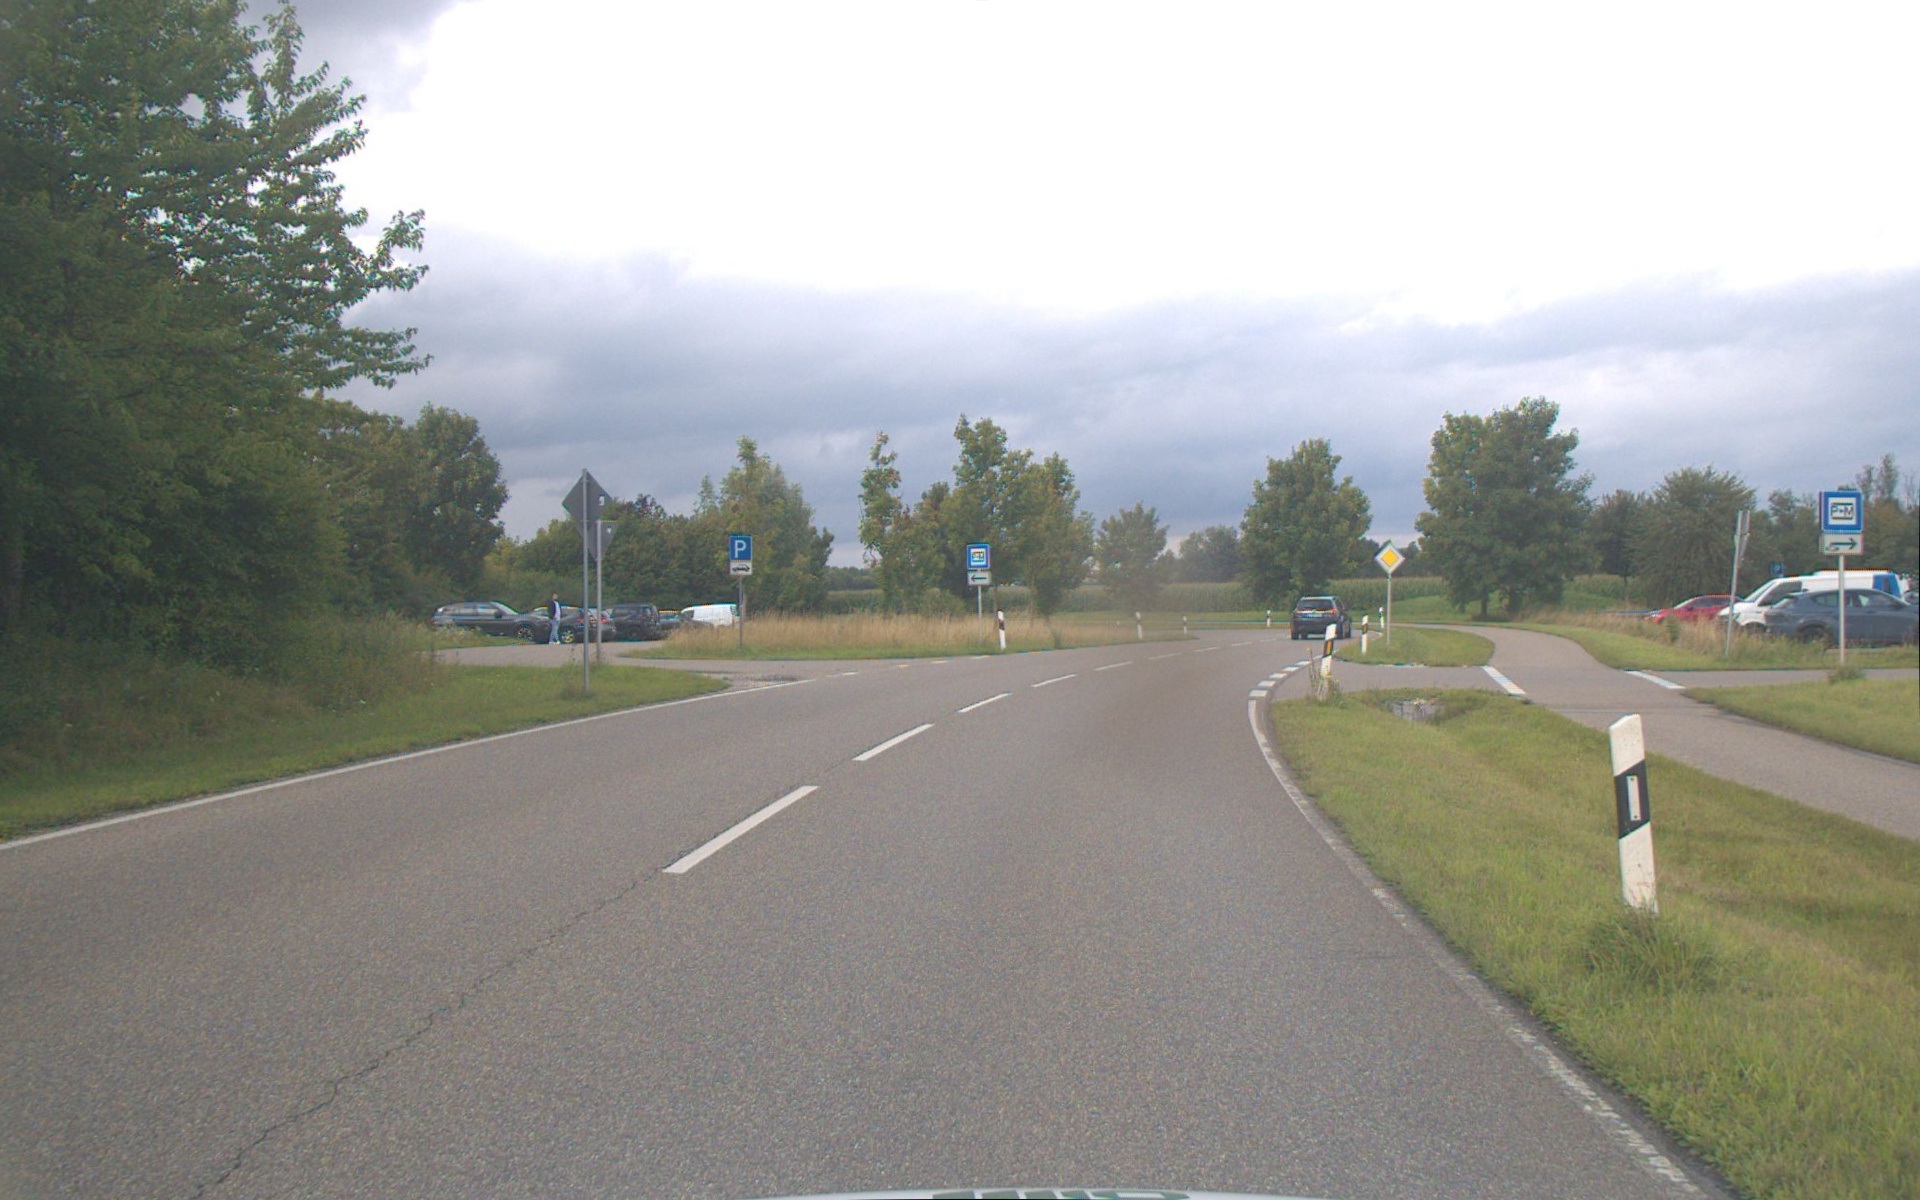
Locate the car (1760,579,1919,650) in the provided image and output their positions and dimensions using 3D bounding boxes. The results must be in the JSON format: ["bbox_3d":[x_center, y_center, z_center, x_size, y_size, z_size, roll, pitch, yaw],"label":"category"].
[{"bbox_3d":[22.182,0.333,40.711,4.181,1.593,1.839,-2,-1,16],"label":"car"}]

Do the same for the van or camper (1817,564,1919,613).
[{"bbox_3d":[50.816,-0.617,90.597,6.602,2.606,2.049,-1,0,20],"label":"van or camper"}]

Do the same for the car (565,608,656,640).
[{"bbox_3d":[-15.999,1.082,75.854,3.911,1.404,1.474,-1,0,-7],"label":"car"}]

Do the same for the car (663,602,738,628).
[{"bbox_3d":[-14.177,0.822,90.514,3.906,1.404,1.476,-1,0,-1],"label":"car"}]

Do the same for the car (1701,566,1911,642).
[{"bbox_3d":[23.225,0.121,45.614,4.841,2.009,1.956,-1,0,16],"label":"car"}]

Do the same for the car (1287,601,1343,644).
[{"bbox_3d":[12.420,0.758,57.699,1.802,1.442,4.003,-1,0,13],"label":"car"}]

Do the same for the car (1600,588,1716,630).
[{"bbox_3d":[29.449,0.378,69.873,4.237,1.603,1.973,-2,-1,15],"label":"car"}]

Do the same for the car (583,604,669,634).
[{"bbox_3d":[-16.081,0.909,79.785,3.910,1.404,1.474,-1,0,-6],"label":"car"}]

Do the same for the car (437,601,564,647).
[{"bbox_3d":[-16.875,0.872,60.835,4.152,1.593,1.758,-1,0,2],"label":"car"}]

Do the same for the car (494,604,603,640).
[{"bbox_3d":[-16.607,0.868,66.836,3.903,1.404,1.825,-1,0,5],"label":"car"}]

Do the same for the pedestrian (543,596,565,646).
[{"bbox_3d":[-13.876,0.714,56.579,0.504,1.696,0.661,-1,0,8],"label":"pedestrian"}]

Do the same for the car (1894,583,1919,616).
[{"bbox_3d":[44.801,-0.040,75.428,3.549,1.465,1.707,-1,0,18],"label":"car"}]

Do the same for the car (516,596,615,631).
[{"bbox_3d":[-16.646,0.551,69.972,3.911,1.404,1.473,-1,0,-8],"label":"car"}]
